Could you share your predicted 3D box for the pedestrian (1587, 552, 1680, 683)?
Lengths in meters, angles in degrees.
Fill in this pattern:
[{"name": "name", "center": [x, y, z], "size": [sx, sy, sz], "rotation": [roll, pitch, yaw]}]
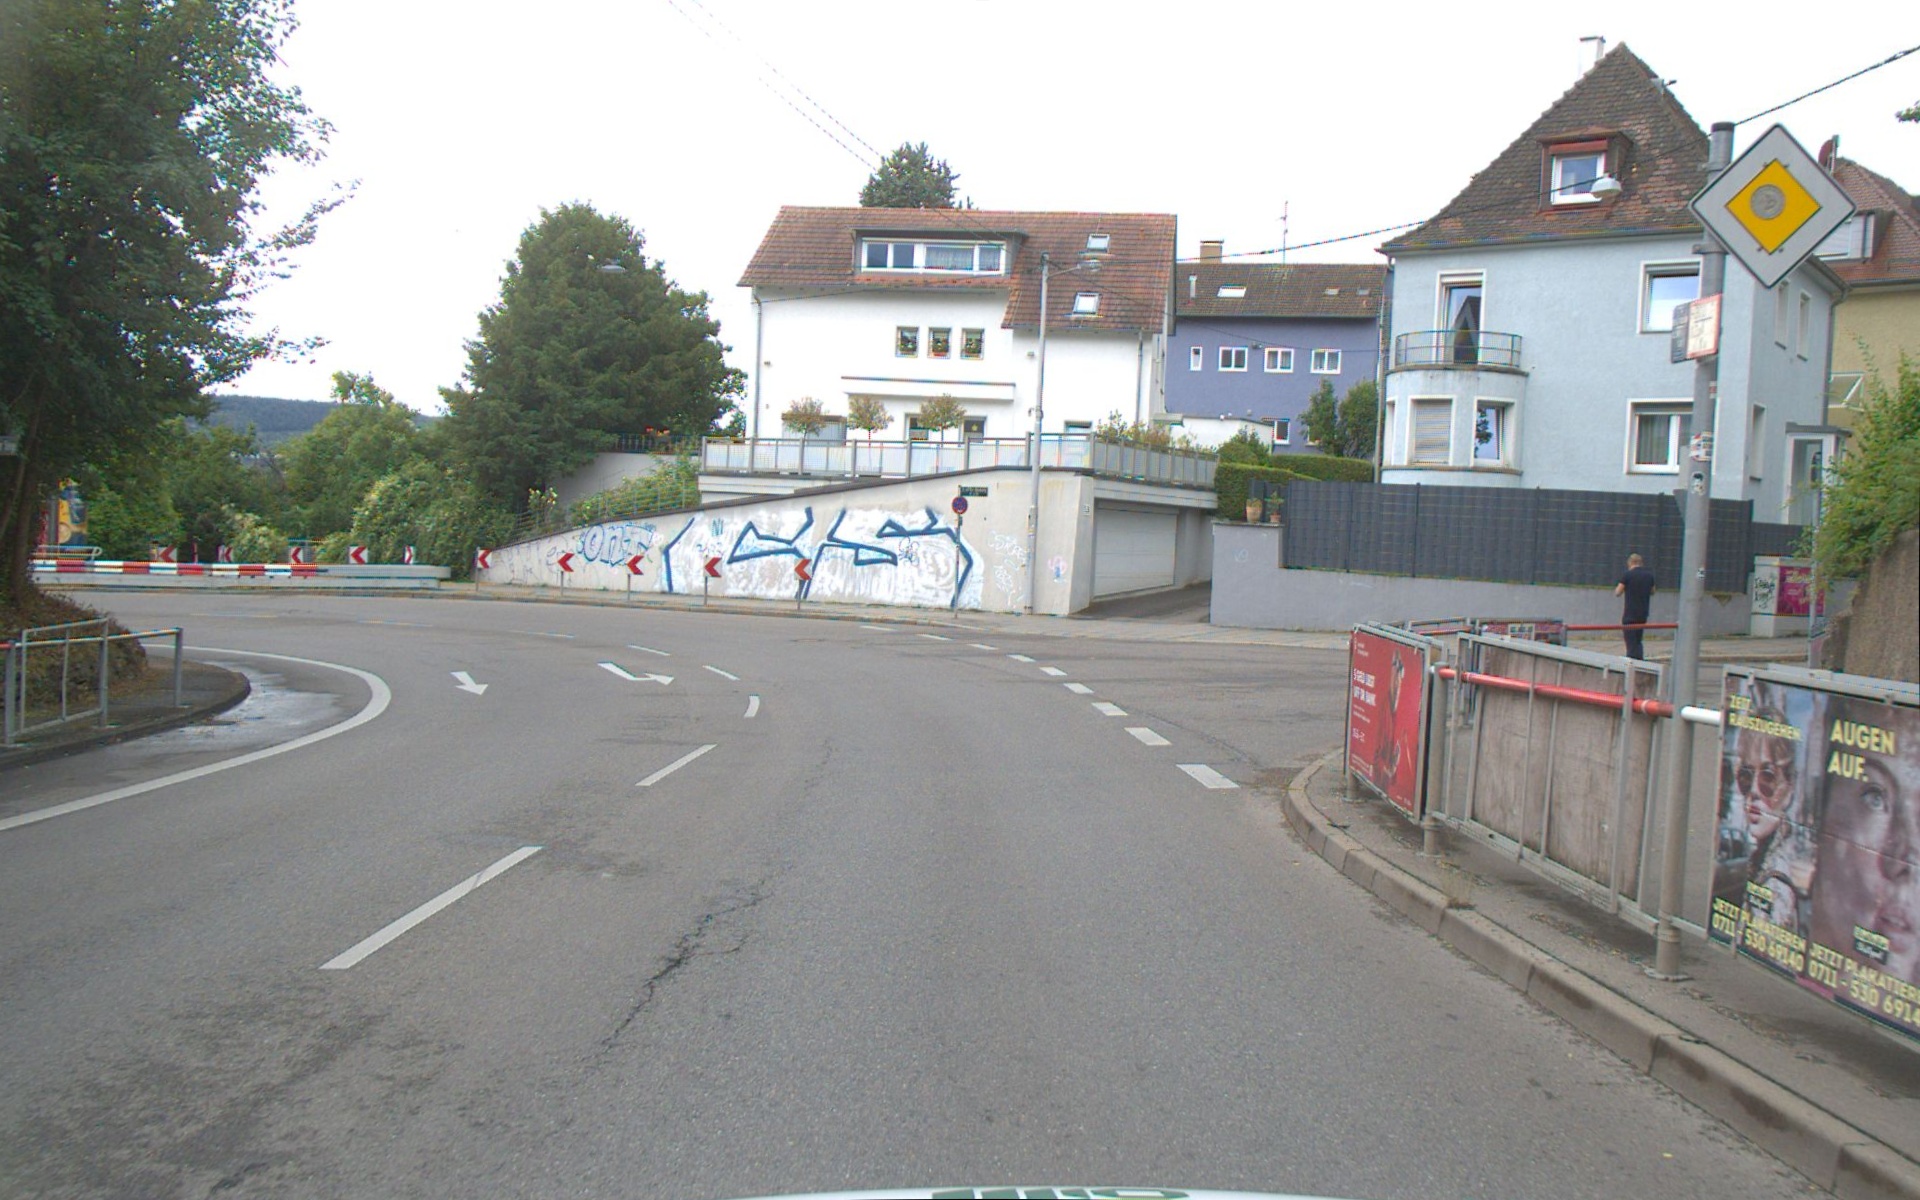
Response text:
[{"name": "pedestrian", "center": [9.865, 0.235, 24.224], "size": [0.998, 1.842, 0.815], "rotation": [3, 2, 45]}]
